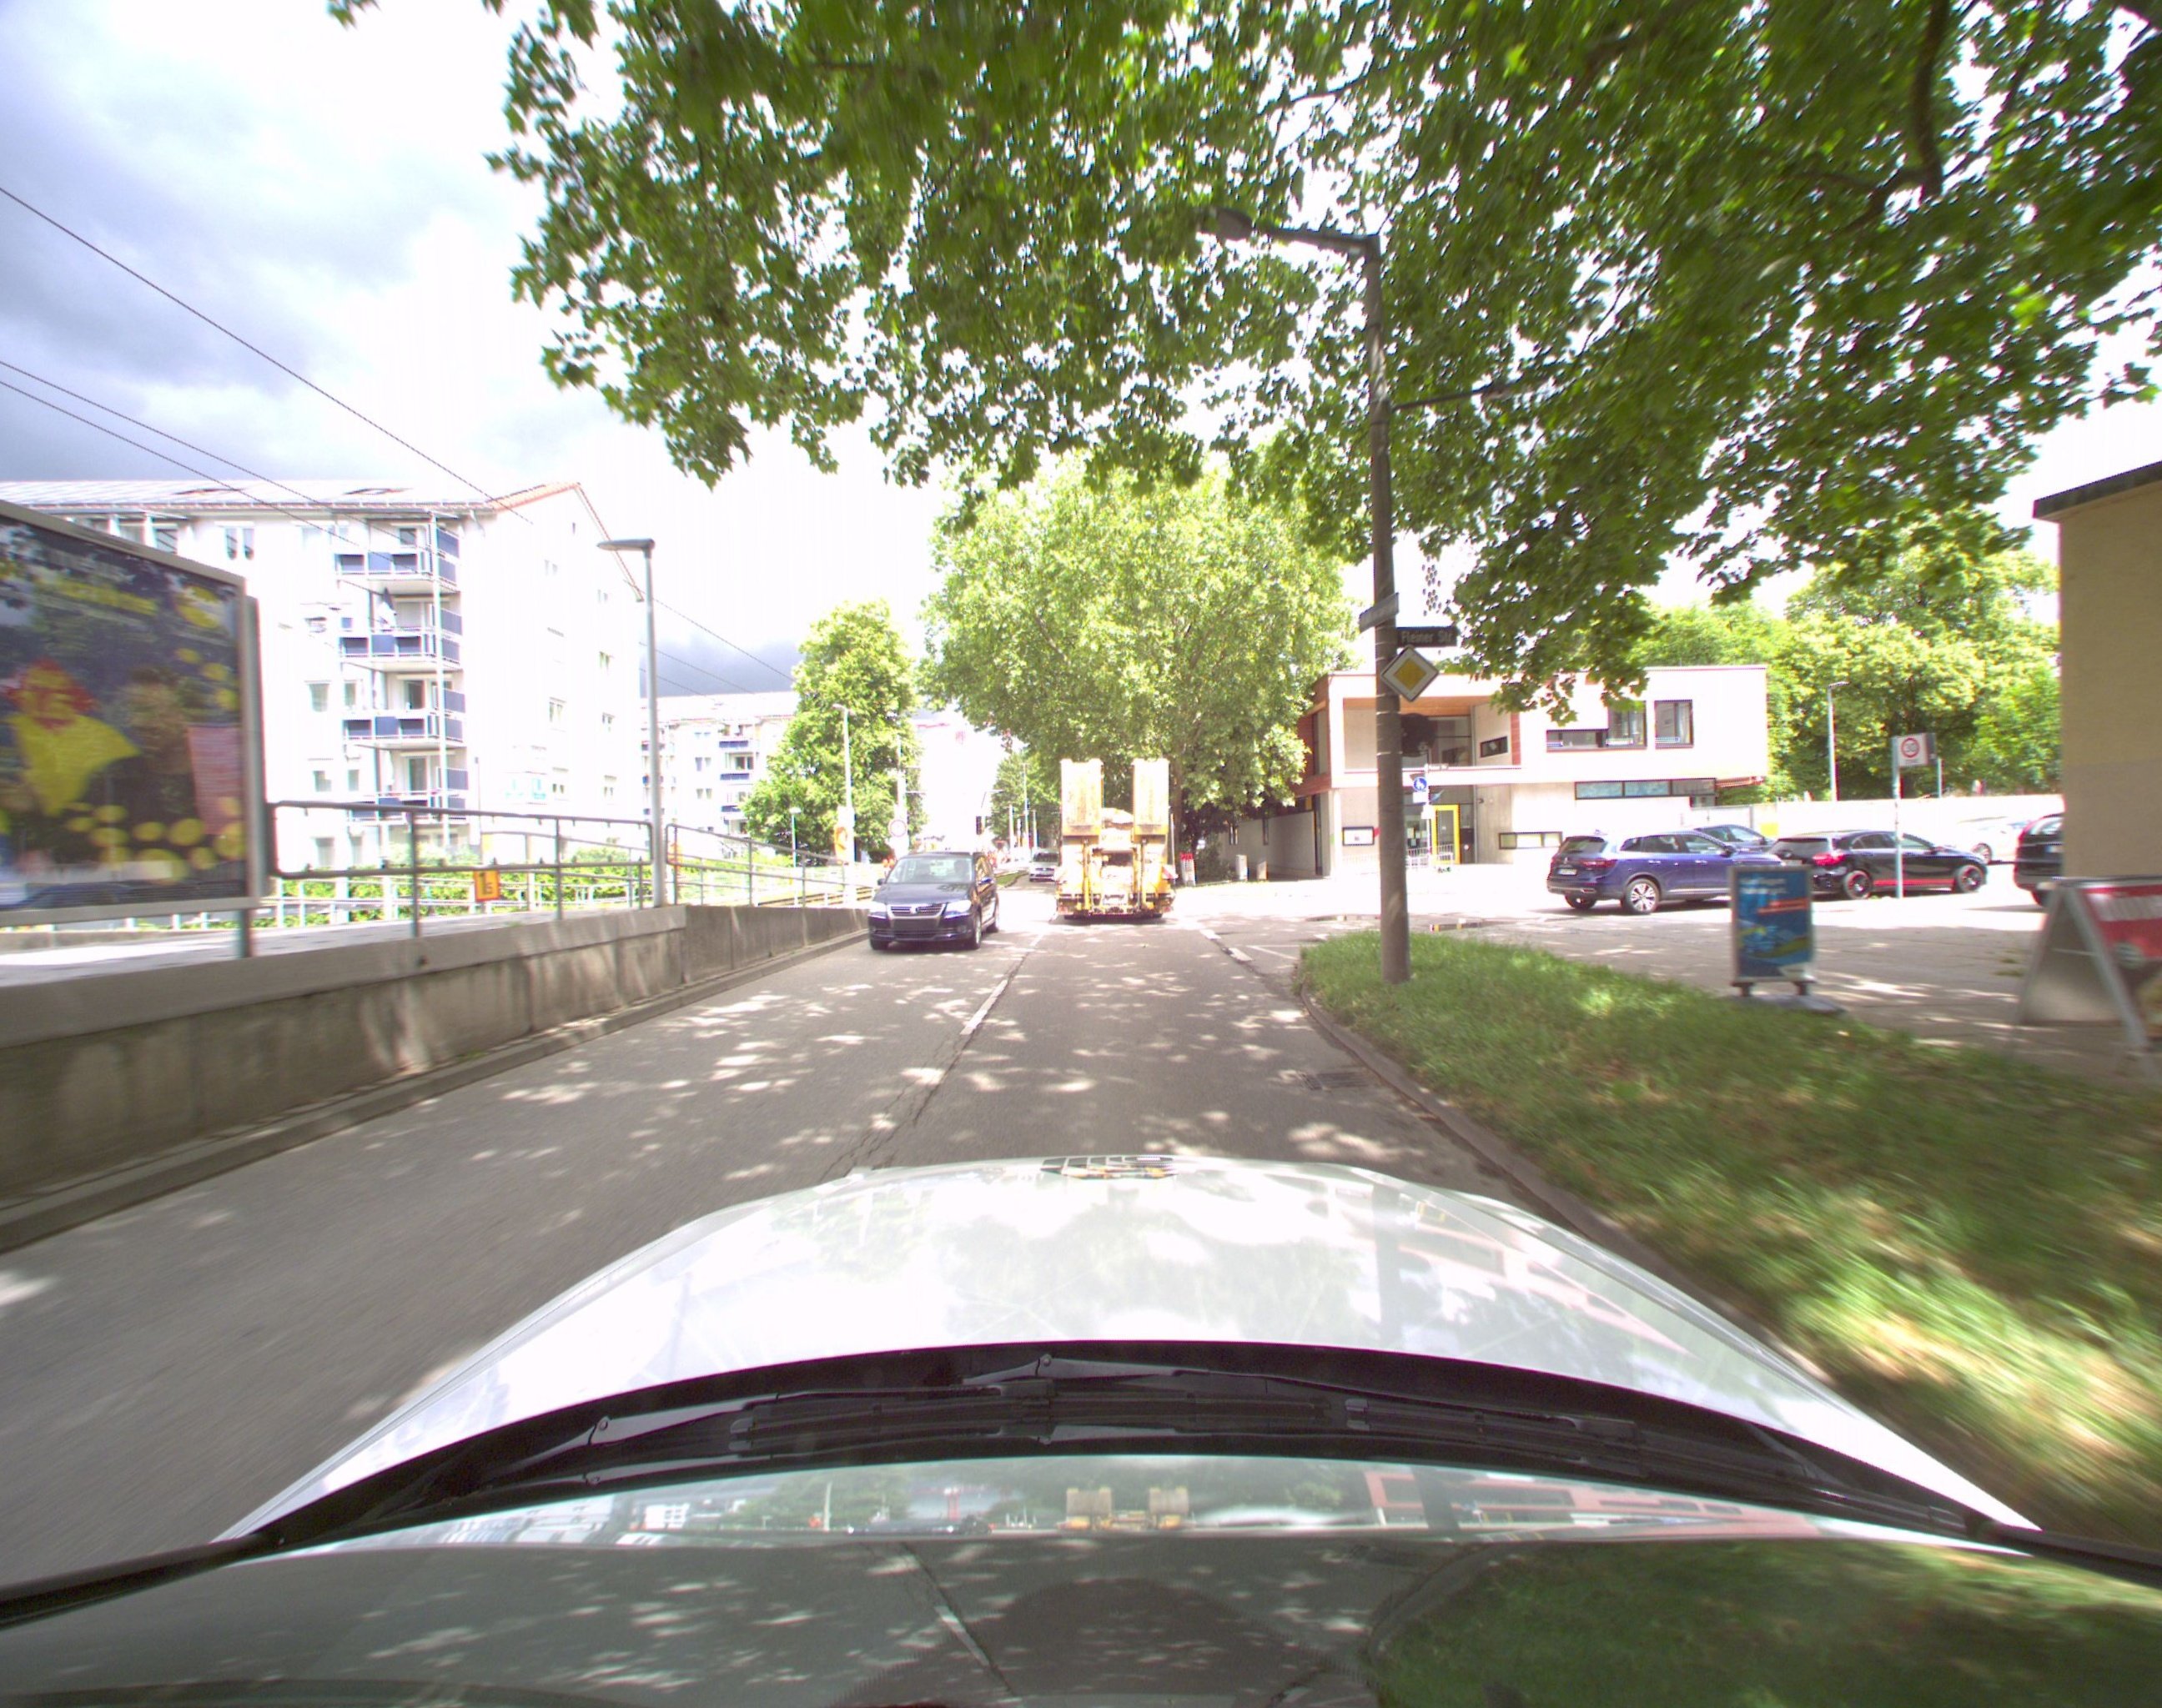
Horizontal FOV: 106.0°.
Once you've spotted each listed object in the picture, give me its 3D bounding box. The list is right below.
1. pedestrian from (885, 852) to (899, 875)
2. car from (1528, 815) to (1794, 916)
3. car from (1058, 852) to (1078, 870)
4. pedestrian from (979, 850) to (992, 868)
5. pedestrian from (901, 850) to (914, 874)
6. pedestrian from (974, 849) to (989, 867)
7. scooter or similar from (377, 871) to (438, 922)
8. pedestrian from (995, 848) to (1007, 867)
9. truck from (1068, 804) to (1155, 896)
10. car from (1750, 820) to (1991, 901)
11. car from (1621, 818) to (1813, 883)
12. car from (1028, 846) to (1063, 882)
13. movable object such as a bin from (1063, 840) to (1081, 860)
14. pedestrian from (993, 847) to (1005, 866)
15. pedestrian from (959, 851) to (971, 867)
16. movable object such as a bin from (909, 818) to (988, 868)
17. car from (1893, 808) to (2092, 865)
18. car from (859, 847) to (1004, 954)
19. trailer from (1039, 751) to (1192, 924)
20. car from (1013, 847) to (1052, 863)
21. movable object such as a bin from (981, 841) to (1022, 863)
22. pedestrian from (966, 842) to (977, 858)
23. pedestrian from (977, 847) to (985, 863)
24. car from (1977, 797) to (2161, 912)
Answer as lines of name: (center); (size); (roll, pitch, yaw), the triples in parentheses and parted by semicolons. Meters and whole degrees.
pedestrian: (-13.619, 0.647, 58.682); (0.729, 1.625, 0.867); (-1, 0, 1)
car: (11.875, 0.205, 16.836); (4.175, 1.681, 2.008); (-4, 1, -7)
car: (-1.104, 0.606, 69.085); (1.631, 1.435, 3.850); (-1, 0, 0)
pedestrian: (-9.171, 0.458, 78.271); (0.878, 1.760, 0.841); (-1, 0, 22)
pedestrian: (-12.620, 0.563, 59.349); (0.697, 1.718, 0.867); (-1, 0, 1)
pedestrian: (-9.791, 0.412, 80.379); (1.117, 1.715, 0.877); (-1, 0, -43)
scooter or similar: (-17.632, 1.112, 21.313); (1.289, 1.253, 0.467); (-2, 0, 10)
pedestrian: (-8.132, 0.332, 82.486); (0.877, 1.867, 0.842); (-1, 0, 30)
truck: (1.137, -0.150, 32.060); (2.979, 3.135, 7.889); (-1, 0, 1)
car: (16.680, 0.101, 17.281); (3.983, 1.443, 1.523); (-3, 1, -7)
car: (18.088, -0.108, 23.261); (4.226, 1.604, 1.888); (-2, 0, -7)
car: (-1.949, 0.539, 45.441); (1.748, 1.840, 4.645); (-1, 0, 0)
movable object such as a bin: (-0.935, -0.411, 85.226); (1.389, 2.013, 2.565); (-1, 0, 12)
pedestrian: (-8.036, 0.276, 79.946); (0.890, 1.867, 0.830); (-1, 0, -27)
pedestrian: (-11.785, 0.485, 82.625); (0.891, 1.645, 0.891); (-1, 0, -29)
movable object such as a bin: (-15.316, -1.199, 93.696); (9.115, 5.414, 2.680); (-1, 0, 28)
car: (27.110, -0.508, 24.297); (4.226, 1.456, 1.888); (-2, 0, -7)
car: (-2.493, 0.717, 14.568); (1.747, 1.633, 4.119); (0, 0, 1)
trailer: (0.898, -0.345, 22.566); (3.142, 3.552, 11.101); (-1, 0, 2)
car: (-6.581, 0.154, 110.247); (5.095, 2.102, 1.968); (-1, 0, -13)
movable object such as a bin: (-9.608, -0.232, 97.989); (4.325, 2.629, 2.234); (-1, 0, 28)
pedestrian: (-11.293, -0.409, 84.188); (0.889, 1.645, 0.830); (-1, 0, -24)
pedestrian: (-11.546, 0.145, 94.352); (0.834, 1.867, 0.885); (-1, 0, -10)
car: (17.141, -0.067, 12.976); (4.088, 1.655, 1.807); (-3, 0, -7)
